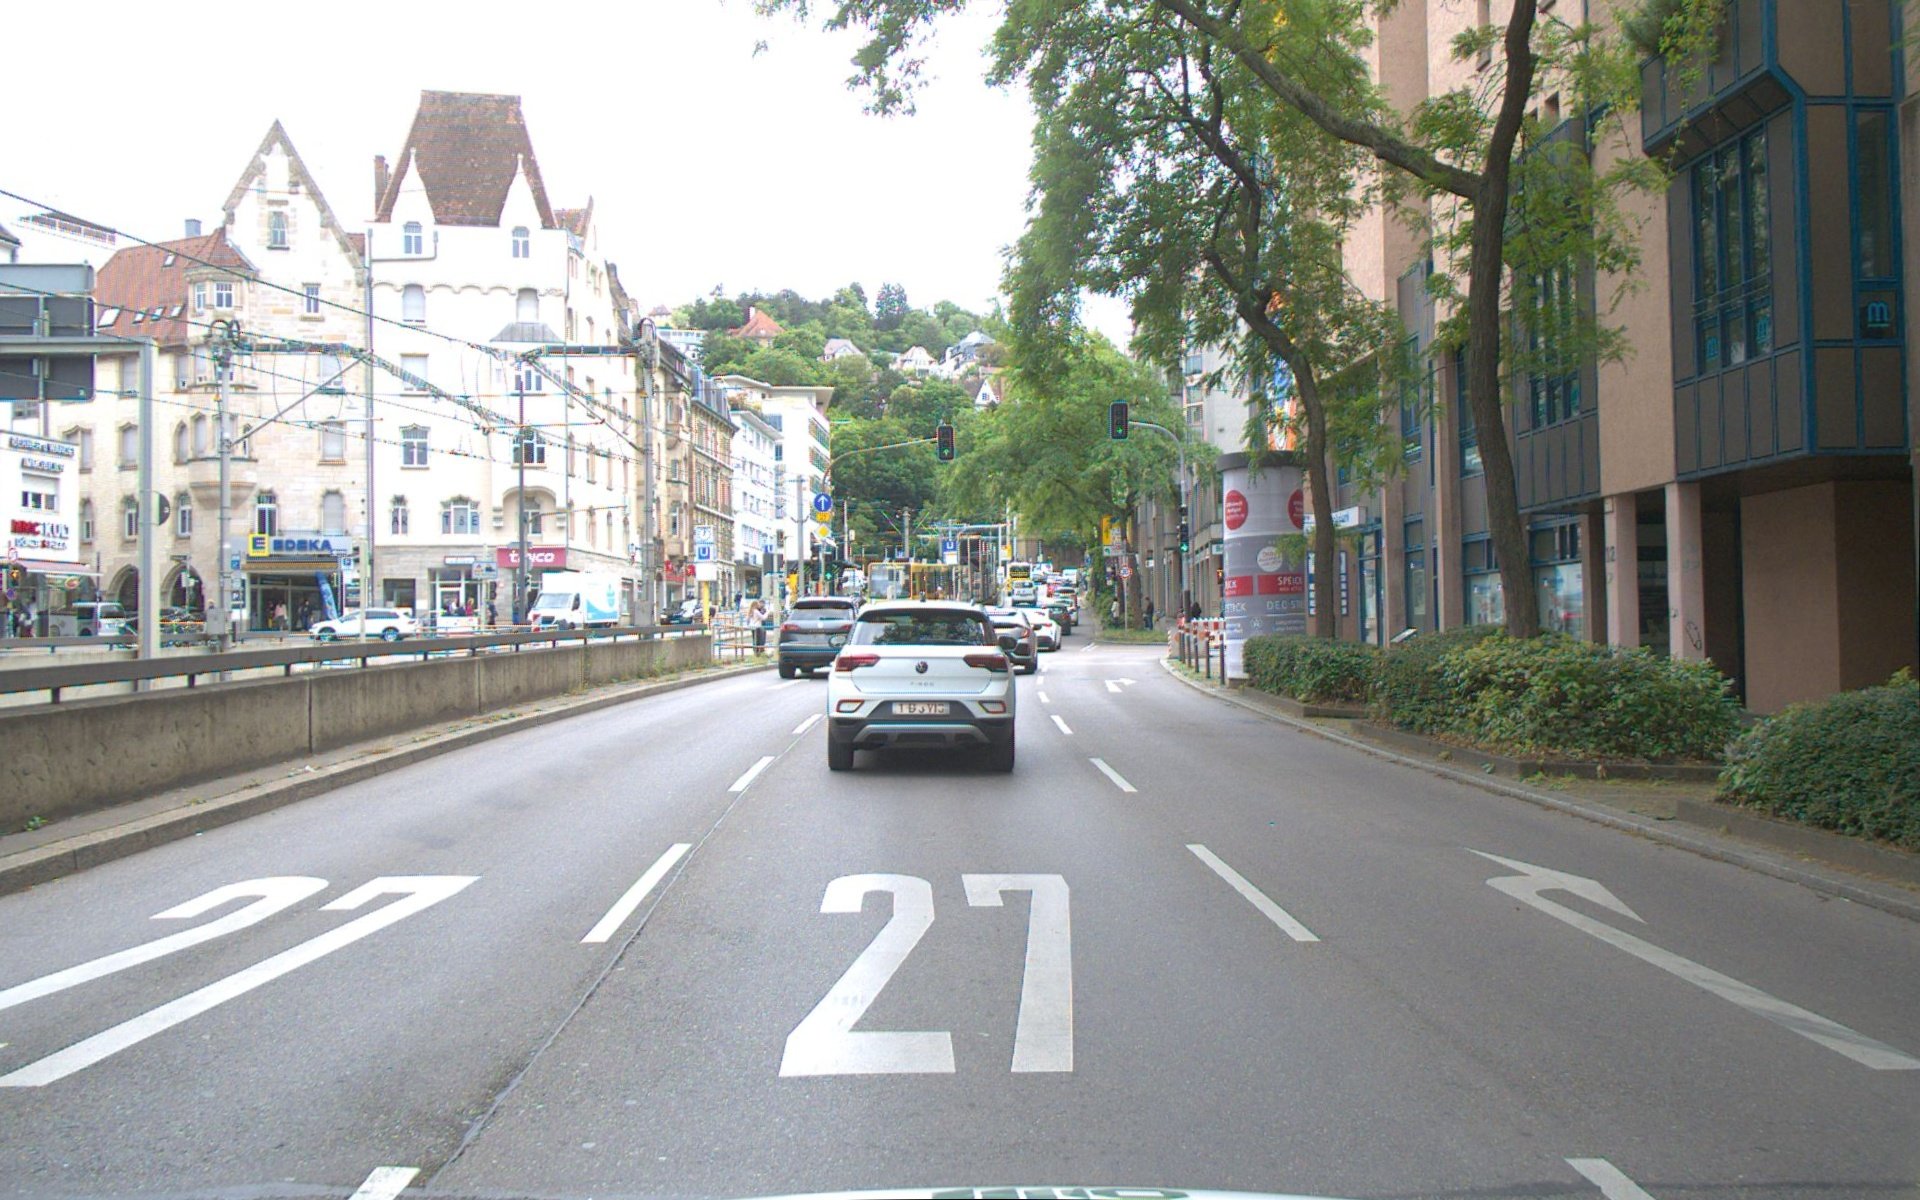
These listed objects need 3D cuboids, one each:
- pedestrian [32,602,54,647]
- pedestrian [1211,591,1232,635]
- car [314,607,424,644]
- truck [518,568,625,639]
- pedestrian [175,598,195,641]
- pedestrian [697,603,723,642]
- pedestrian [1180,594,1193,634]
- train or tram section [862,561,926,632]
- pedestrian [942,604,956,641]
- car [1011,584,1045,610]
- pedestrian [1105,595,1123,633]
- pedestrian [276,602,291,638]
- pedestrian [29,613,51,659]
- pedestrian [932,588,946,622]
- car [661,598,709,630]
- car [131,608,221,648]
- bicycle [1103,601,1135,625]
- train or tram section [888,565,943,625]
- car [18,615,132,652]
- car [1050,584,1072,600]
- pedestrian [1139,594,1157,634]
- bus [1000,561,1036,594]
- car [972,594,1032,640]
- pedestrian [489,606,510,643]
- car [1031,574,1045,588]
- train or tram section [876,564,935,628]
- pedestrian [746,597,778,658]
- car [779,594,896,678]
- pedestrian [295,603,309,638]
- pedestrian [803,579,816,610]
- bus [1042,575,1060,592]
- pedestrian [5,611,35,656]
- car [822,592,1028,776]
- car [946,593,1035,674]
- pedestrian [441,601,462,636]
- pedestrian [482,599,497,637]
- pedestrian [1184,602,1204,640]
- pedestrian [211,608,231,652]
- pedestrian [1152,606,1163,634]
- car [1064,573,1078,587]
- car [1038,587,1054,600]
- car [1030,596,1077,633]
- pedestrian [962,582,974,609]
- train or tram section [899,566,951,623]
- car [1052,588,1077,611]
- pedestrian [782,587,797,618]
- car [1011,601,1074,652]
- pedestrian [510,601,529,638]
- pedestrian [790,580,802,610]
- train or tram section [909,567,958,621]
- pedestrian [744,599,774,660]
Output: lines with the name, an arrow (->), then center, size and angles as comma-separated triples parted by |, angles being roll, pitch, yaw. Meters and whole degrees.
pedestrian -> -37.607, 0.993, 67.814 | 0.499, 1.811, 0.599 | -1, 0, 16
pedestrian -> 12.185, 0.615, 77.045 | 0.818, 2.049, 0.764 | 0, -1, 0
car -> -25.917, 1.113, 72.671 | 4.425, 1.588, 1.747 | 1, -1, -16
truck -> -17.971, 0.183, 77.025 | 2.218, 3.130, 7.380 | 0, -1, 9
pedestrian -> -32.355, 0.811, 69.035 | 0.564, 1.811, 0.510 | -1, -1, 30
pedestrian -> -11.264, 1.018, 74.558 | 0.859, 1.735, 0.810 | -1, -1, 33
pedestrian -> 10.497, 0.655, 76.729 | 0.508, 1.820, 0.764 | 0, -1, 0
train or tram section -> -3.558, -0.215, 90.346 | 2.775, 3.743, 5.755 | 0, 0, 4
pedestrian -> -0.520, 1.087, 80.663 | 0.622, 1.741, 0.872 | -1, 0, 4
car -> 5.463, -0.245, 132.992 | 2.314, 2.049, 5.152 | 0, 0, 7
pedestrian -> 7.595, 0.683, 81.477 | 0.679, 1.808, 0.689 | -5, 0, 0
pedestrian -> -34.159, 0.992, 83.488 | 0.503, 1.811, 0.573 | -1, -1, 44
pedestrian -> -36.555, 1.432, 65.709 | 0.499, 1.811, 0.577 | -1, 0, 16
pedestrian -> -1.090, 0.247, 85.882 | 0.671, 1.741, 0.712 | -1, 0, 4
car -> -15.900, 0.783, 95.709 | 1.638, 1.790, 4.784 | 0, 0, 4
car -> -37.090, 1.311, 78.287 | 3.692, 1.713, 1.638 | -3, -1, 18
bicycle -> 8.813, 0.719, 91.566 | 1.674, 1.204, 0.448 | -3, 0, -4
train or tram section -> -2.684, -0.327, 101.842 | 2.775, 3.582, 5.755 | 0, 0, 4
car -> -39.411, 1.475, 73.663 | 4.403, 1.588, 1.756 | 0, -1, 13
car -> 10.884, -0.842, 177.805 | 1.844, 1.713, 4.164 | 0, -1, 10
pedestrian -> 9.091, 0.673, 80.121 | 0.706, 1.834, 0.834 | -3, 2, 0
bus -> 6.004, -2.213, 168.921 | 3.301, 3.118, 13.330 | 0, 0, 4
car -> 2.011, 0.799, 77.513 | 2.314, 2.049, 5.152 | 0, 0, 7
pedestrian -> -22.805, 1.192, 81.873 | 0.774, 1.811, 0.665 | -1, -1, 35
car -> 9.767, -2.339, 206.392 | 1.638, 1.588, 3.988 | 0, 0, 4
train or tram section -> -3.124, -0.242, 96.100 | 2.775, 3.582, 5.755 | 0, 0, 4
pedestrian -> -5.783, 0.789, 48.286 | 0.775, 1.751, 0.773 | -1, 0, 3
car -> -2.529, 0.729, 35.065 | 1.952, 1.664, 4.001 | 0, 0, 3
pedestrian -> -33.848, 1.047, 85.139 | 0.564, 1.811, 0.510 | 0, 0, -10
pedestrian -> -8.685, -0.319, 95.353 | 0.613, 1.793, 0.847 | -1, 0, 5
bus -> 11.072, -1.998, 201.845 | 1.953, 2.049, 3.999 | 0, -1, -1
pedestrian -> -36.993, 1.318, 65.092 | 0.765, 1.735, 0.654 | -1, 0, 9
car -> -0.394, 0.760, 16.642 | 1.801, 1.611, 4.154 | 0, 0, -3
car -> 0.745, 0.727, 37.371 | 1.845, 1.713, 4.162 | 0, 0, 3
pedestrian -> -25.146, 0.897, 81.788 | 0.765, 1.735, 0.654 | -1, 0, 9
pedestrian -> -22.642, 0.867, 79.592 | 0.563, 1.811, 0.512 | -1, 0, 9
pedestrian -> 10.536, 0.928, 74.449 | 0.746, 1.640, 0.619 | -2, 2, 15
pedestrian -> -30.597, 1.259, 68.497 | 0.499, 1.811, 0.577 | -1, 0, 16
pedestrian -> 9.459, 0.956, 79.175 | 0.461, 1.357, 0.520 | 0, -1, 0
car -> 12.980, -2.308, 193.891 | 1.638, 1.588, 3.680 | 0, 0, 4
car -> 8.410, -0.661, 161.163 | 1.549, 1.193, 3.680 | 0, 0, 4
car -> 5.317, 0.837, 94.720 | 2.316, 2.049, 5.147 | 0, 0, -1
pedestrian -> 0.522, -0.282, 109.480 | 0.702, 1.761, 0.671 | 0, -1, 5
train or tram section -> -2.219, -0.398, 107.610 | 2.775, 3.582, 5.755 | 0, 0, 4
car -> 7.881, -0.005, 124.848 | 1.845, 1.713, 4.163 | 0, 0, 4
pedestrian -> -9.567, 0.145, 92.817 | 0.673, 1.741, 0.662 | -1, 0, 3
car -> 2.865, 0.925, 58.329 | 1.847, 1.713, 4.159 | 0, 0, -3
pedestrian -> -21.329, 0.947, 80.110 | 0.694, 1.811, 0.596 | -1, 0, 20
pedestrian -> -9.624, -0.281, 97.032 | 0.623, 1.741, 0.689 | -1, 0, -5
train or tram section -> -1.777, -0.451, 113.356 | 2.775, 3.582, 5.755 | 0, 0, 4
pedestrian -> -5.767, 0.841, 47.530 | 0.748, 1.751, 0.638 | -1, 0, 3
